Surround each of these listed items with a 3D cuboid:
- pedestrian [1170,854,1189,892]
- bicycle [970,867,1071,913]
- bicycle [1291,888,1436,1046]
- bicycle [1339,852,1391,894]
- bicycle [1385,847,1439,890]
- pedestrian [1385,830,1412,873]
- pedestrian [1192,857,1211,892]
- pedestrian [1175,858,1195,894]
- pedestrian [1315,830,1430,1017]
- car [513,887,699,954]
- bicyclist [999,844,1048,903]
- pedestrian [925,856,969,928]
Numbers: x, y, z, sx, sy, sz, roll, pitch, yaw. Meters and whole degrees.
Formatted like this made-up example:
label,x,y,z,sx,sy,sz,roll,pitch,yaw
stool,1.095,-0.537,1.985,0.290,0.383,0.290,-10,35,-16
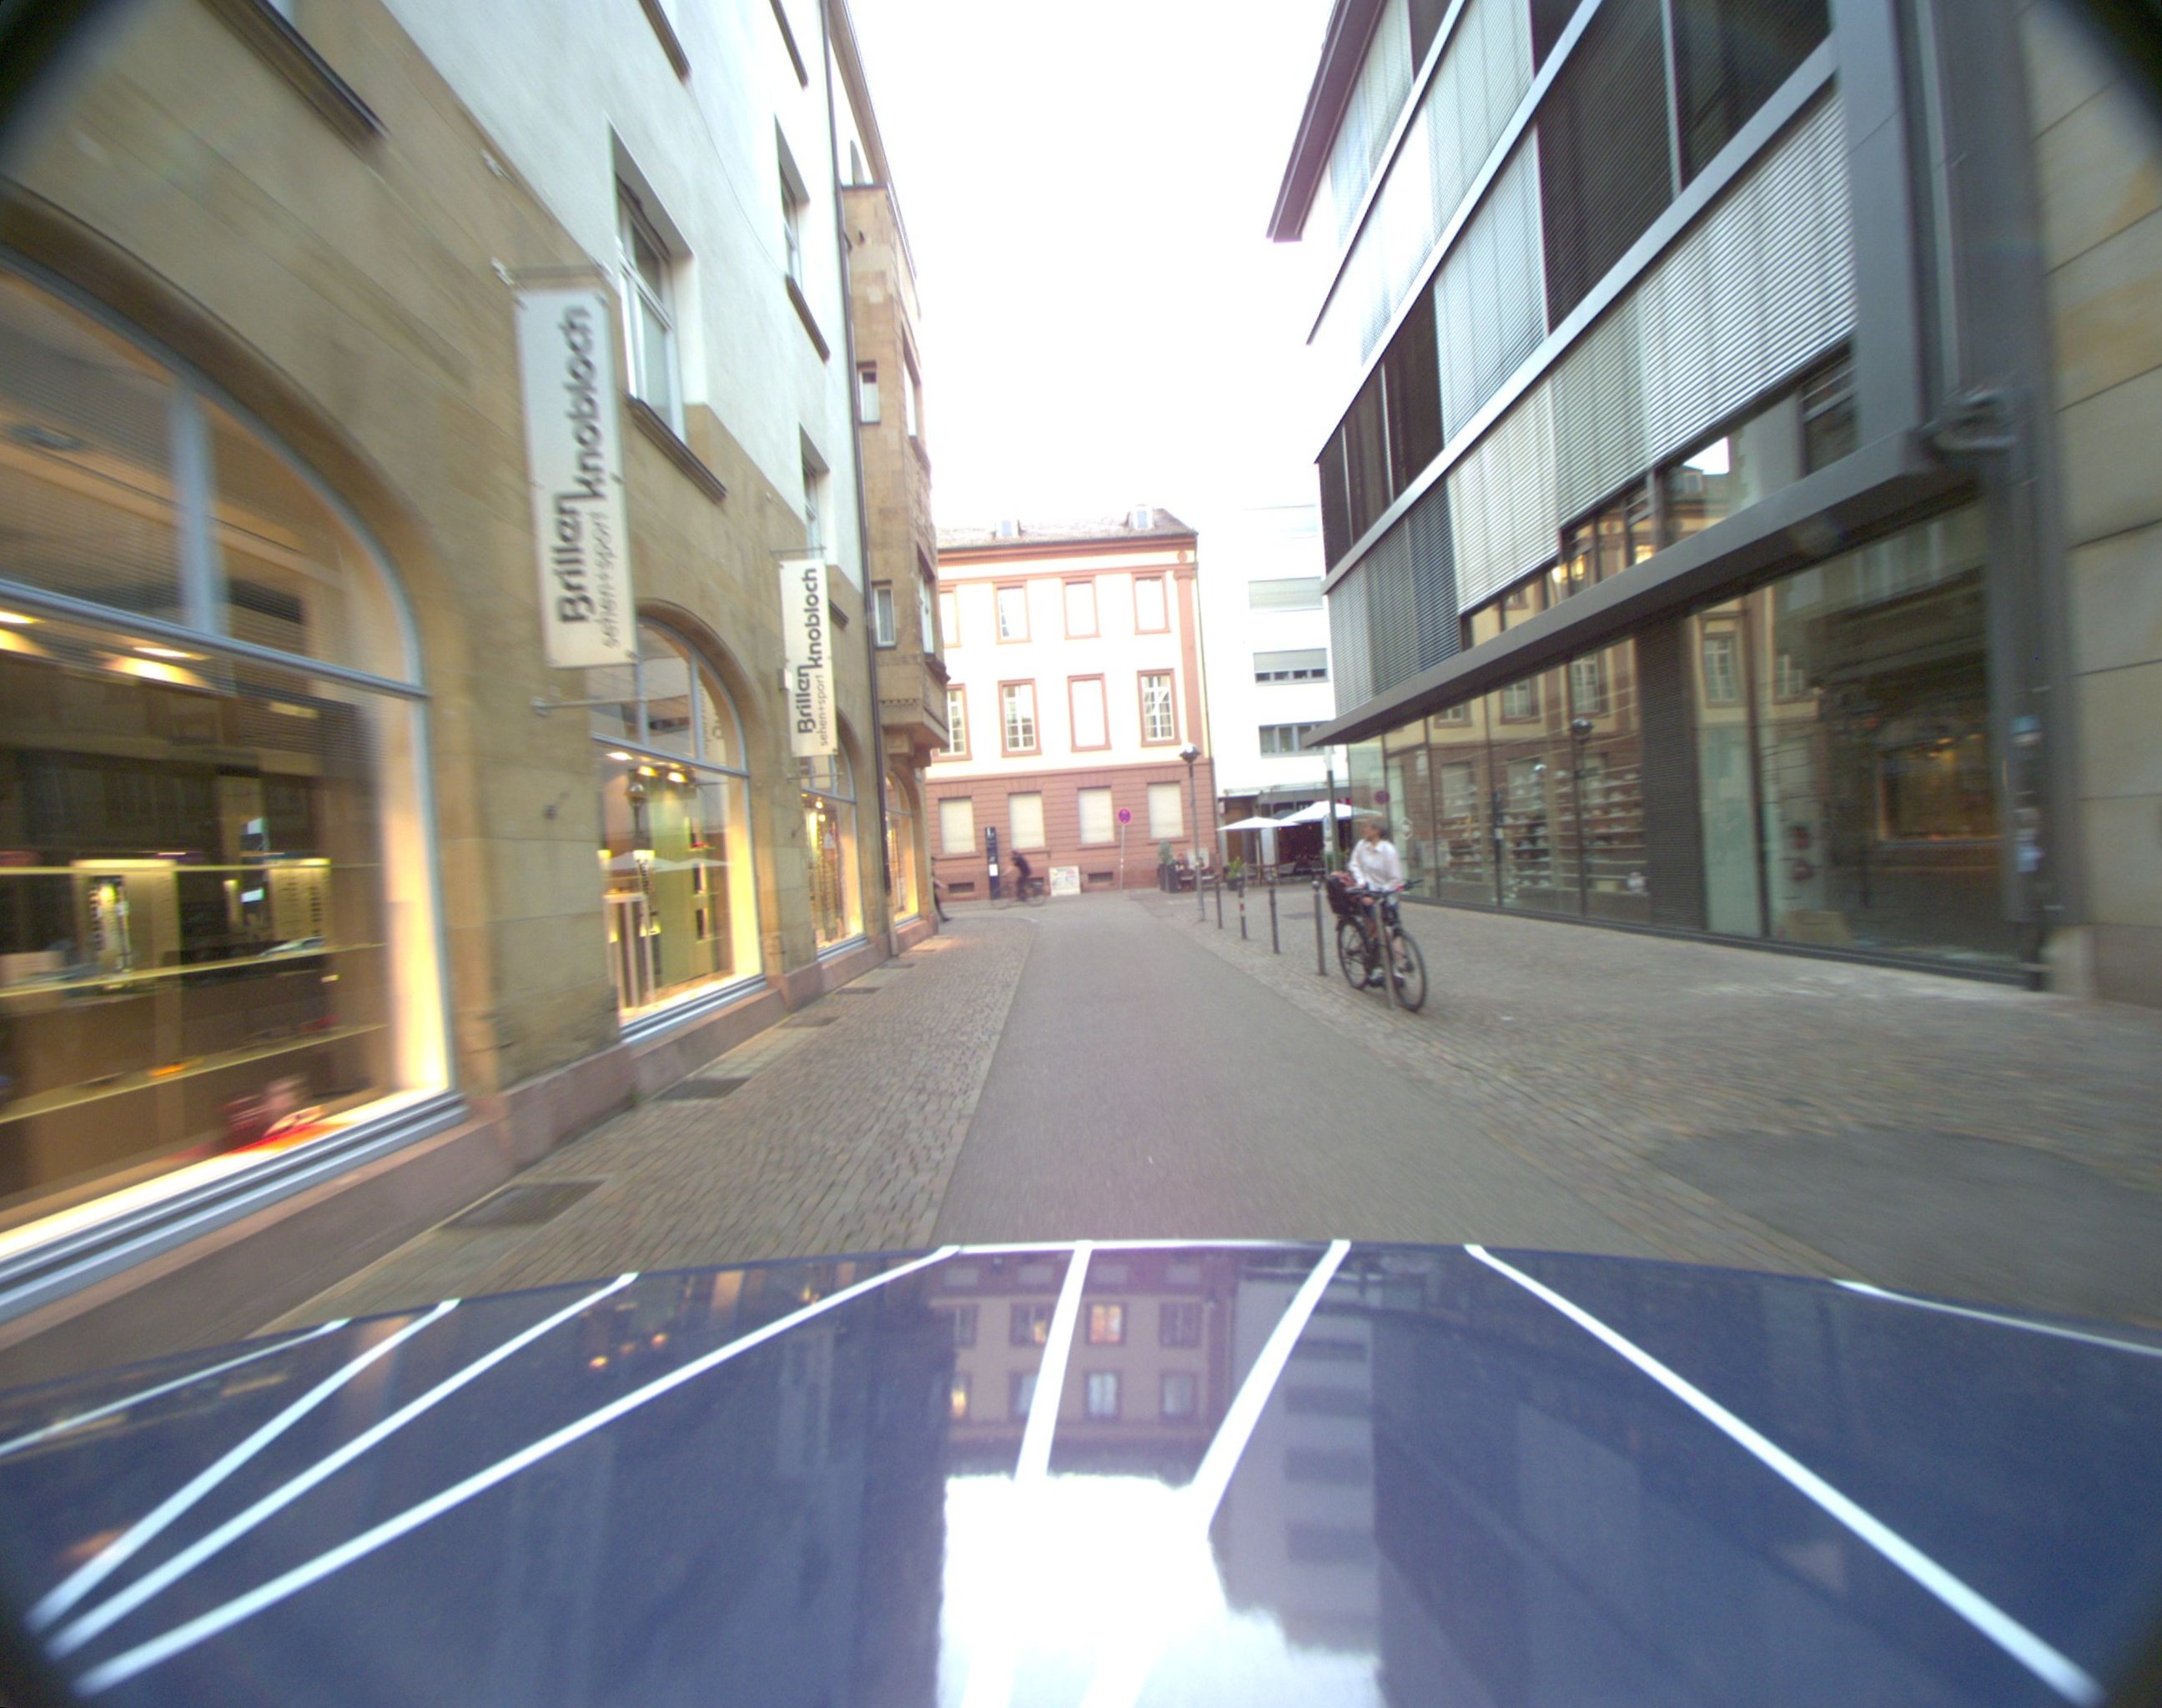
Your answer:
label,x,y,z,sx,sy,sz,roll,pitch,yaw
pedestrian,3.617,0.690,27.875,0.549,1.341,0.489,-4,1,1
bicycle,-1.975,1.157,24.866,3.156,1.252,0.923,-4,0,-3
bicycle,2.549,0.955,7.104,0.534,1.147,1.914,-5,0,-1
bicycle,7.954,0.535,21.332,0.709,1.106,1.674,-4,-1,-2
bicycle,9.472,0.431,21.807,0.609,1.143,1.842,-4,-1,-2
pedestrian,12.611,-0.092,30.215,0.671,1.655,0.623,-3,0,-29
pedestrian,4.388,0.746,27.755,0.549,1.204,0.524,-4,1,1
pedestrian,3.605,0.749,26.456,0.562,1.204,0.461,-4,1,1
pedestrian,2.904,0.660,7.582,0.771,1.708,0.590,-6,1,-32
car,-12.988,1.805,20.930,3.997,1.434,1.650,-4,1,1
bicyclist,-1.856,0.634,24.875,1.469,1.807,0.923,-4,0,-3
pedestrian,-3.510,0.970,19.869,0.969,1.775,0.739,-4,1,-16
